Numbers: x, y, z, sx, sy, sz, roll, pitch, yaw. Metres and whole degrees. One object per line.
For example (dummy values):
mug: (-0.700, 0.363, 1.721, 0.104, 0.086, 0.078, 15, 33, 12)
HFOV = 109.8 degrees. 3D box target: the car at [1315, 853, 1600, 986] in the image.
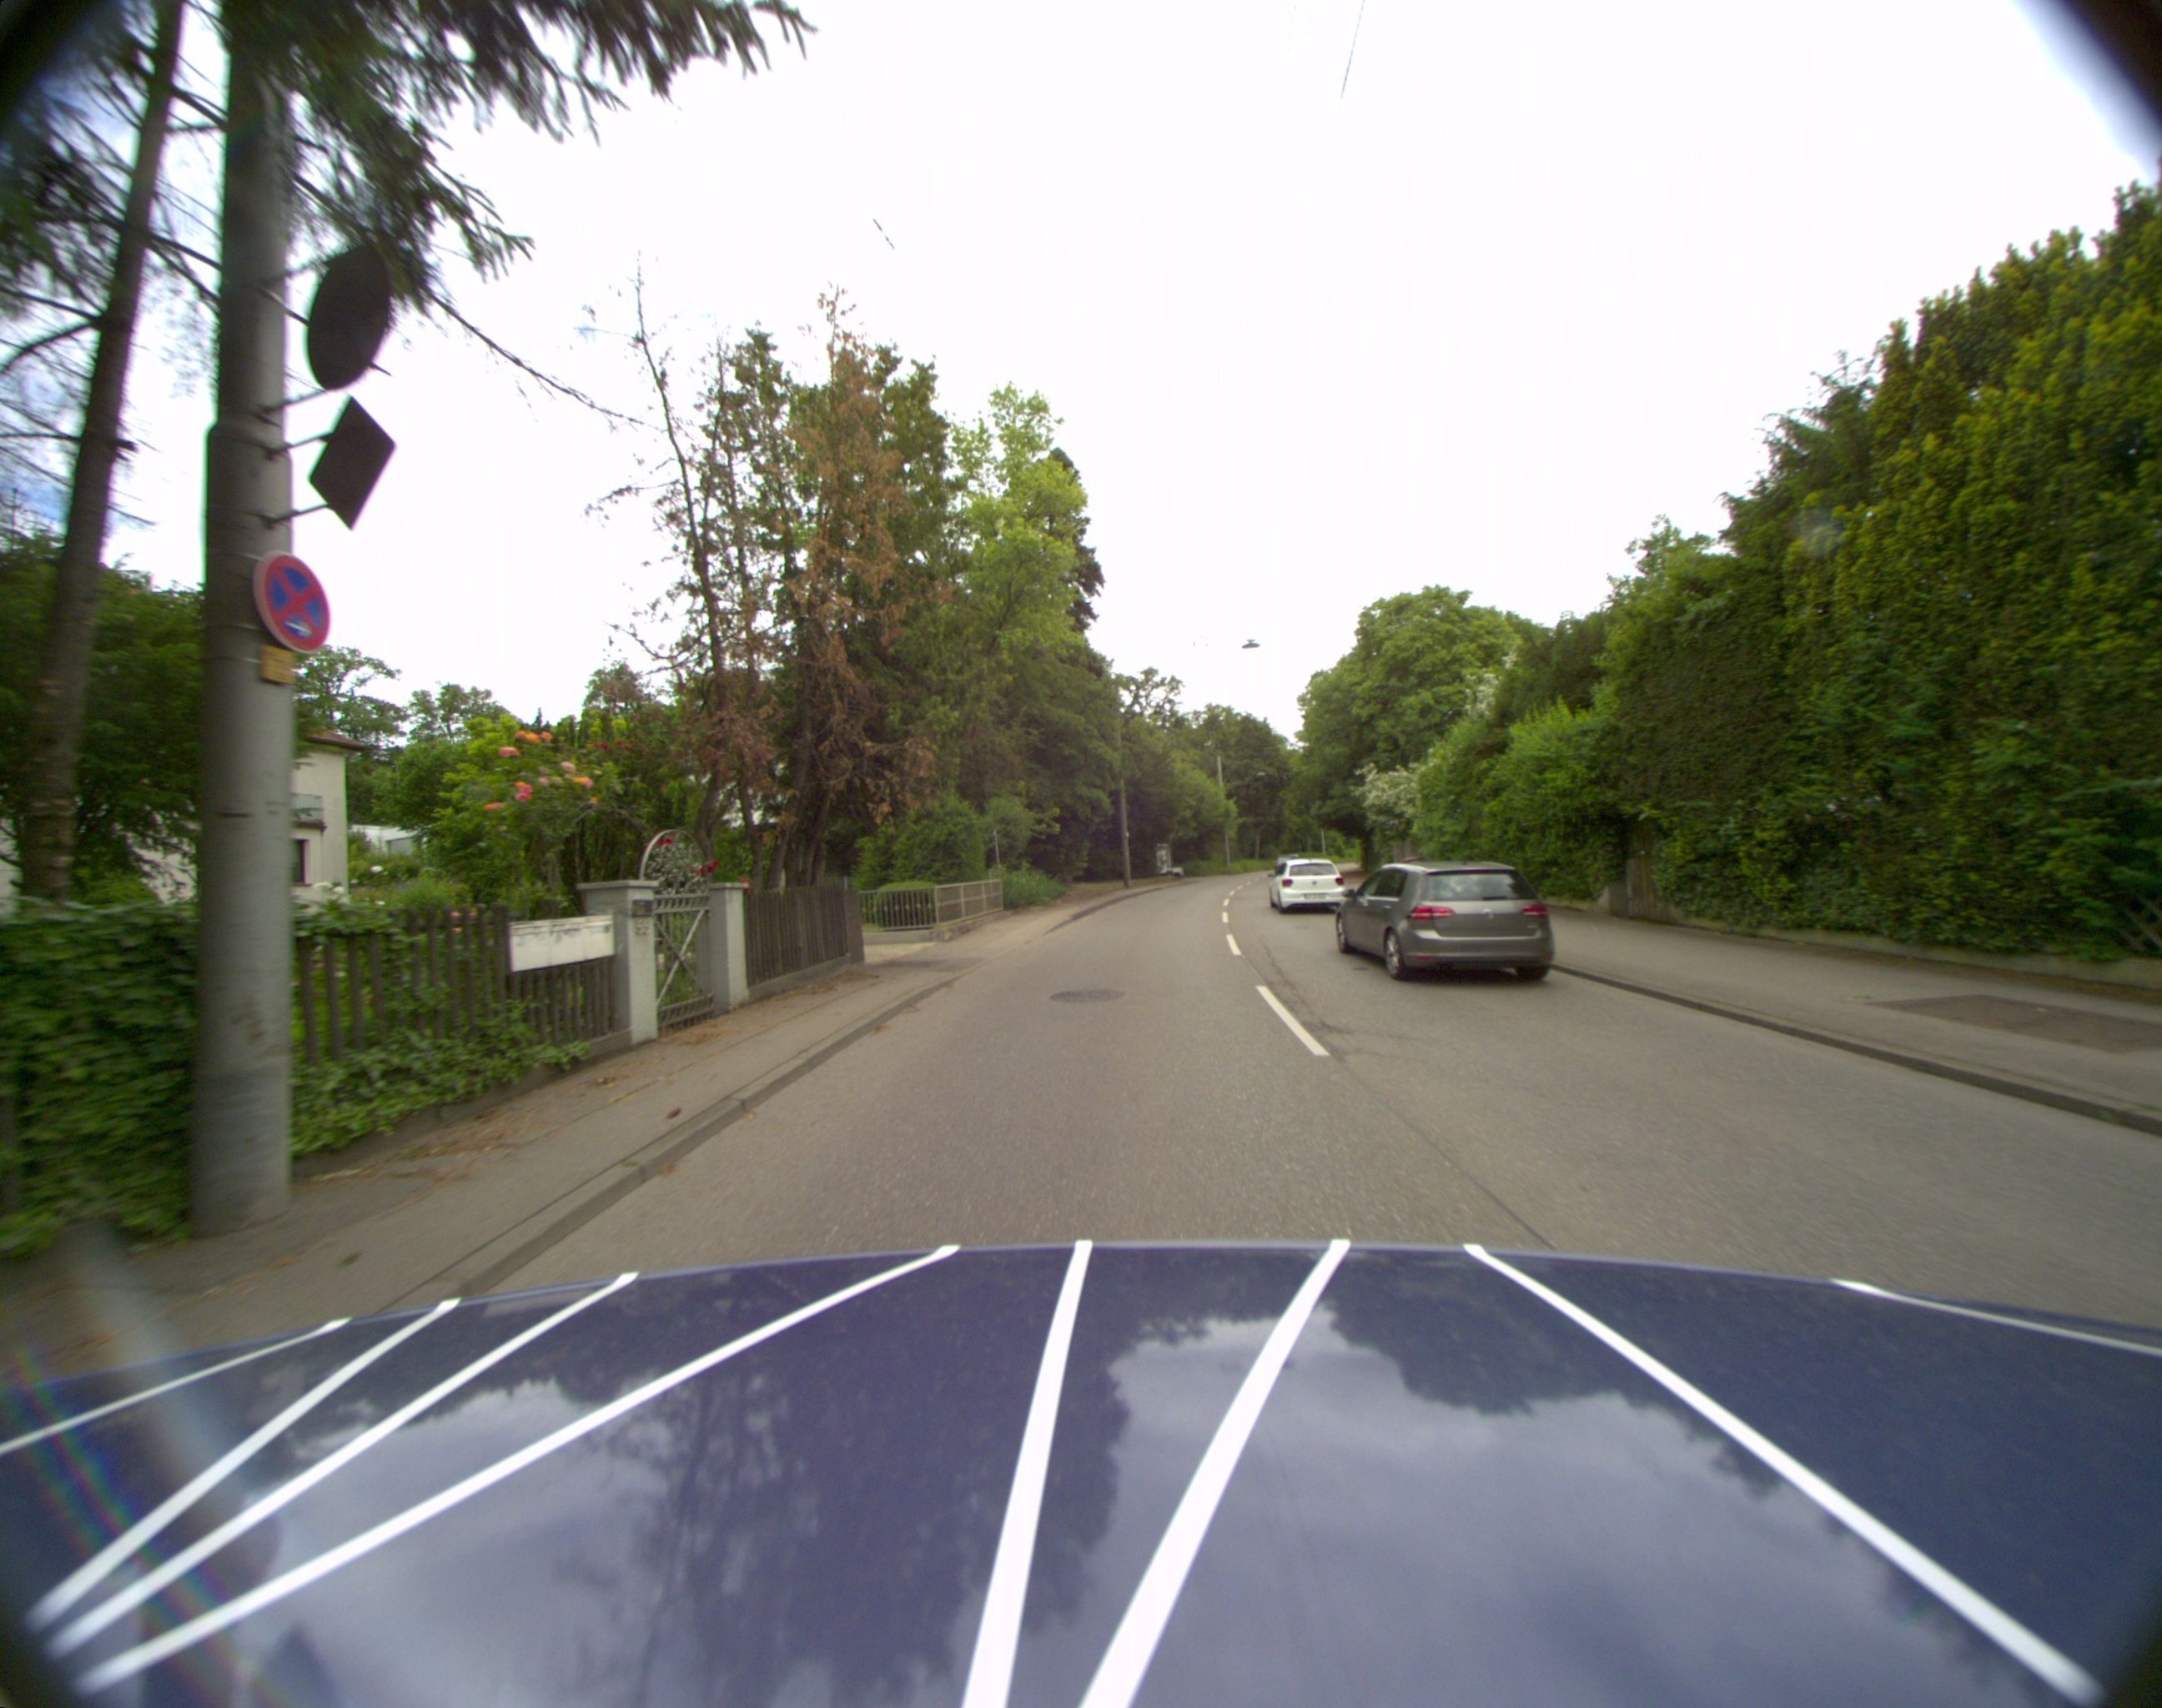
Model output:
car: (4.675, 0.716, 10.181, 1.917, 1.390, 3.909, -2, 0, 1)

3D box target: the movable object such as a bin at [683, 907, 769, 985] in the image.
movable object such as a bin: (-5.190, 1.336, 11.155, 0.778, 1.042, 0.784, -2, 0, 15)

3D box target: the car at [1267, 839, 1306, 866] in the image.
car: (13.487, -0.127, 49.745, 1.995, 1.609, 4.005, -1, 2, 22)

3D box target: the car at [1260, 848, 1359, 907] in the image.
car: (6.265, 0.598, 21.251, 1.906, 1.445, 3.798, -2, 0, 5)

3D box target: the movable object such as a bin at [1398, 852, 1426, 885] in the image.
movable object such as a bin: (12.160, 0.538, 27.913, 0.742, 1.134, 0.647, -5, 0, 12)

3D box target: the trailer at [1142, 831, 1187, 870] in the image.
trailer: (6.633, -0.256, 60.174, 3.120, 2.882, 1.595, -3, 0, 18)

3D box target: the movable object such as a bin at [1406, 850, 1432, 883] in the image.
movable object such as a bin: (12.067, 0.443, 27.140, 0.630, 1.138, 0.647, -5, 0, 12)
